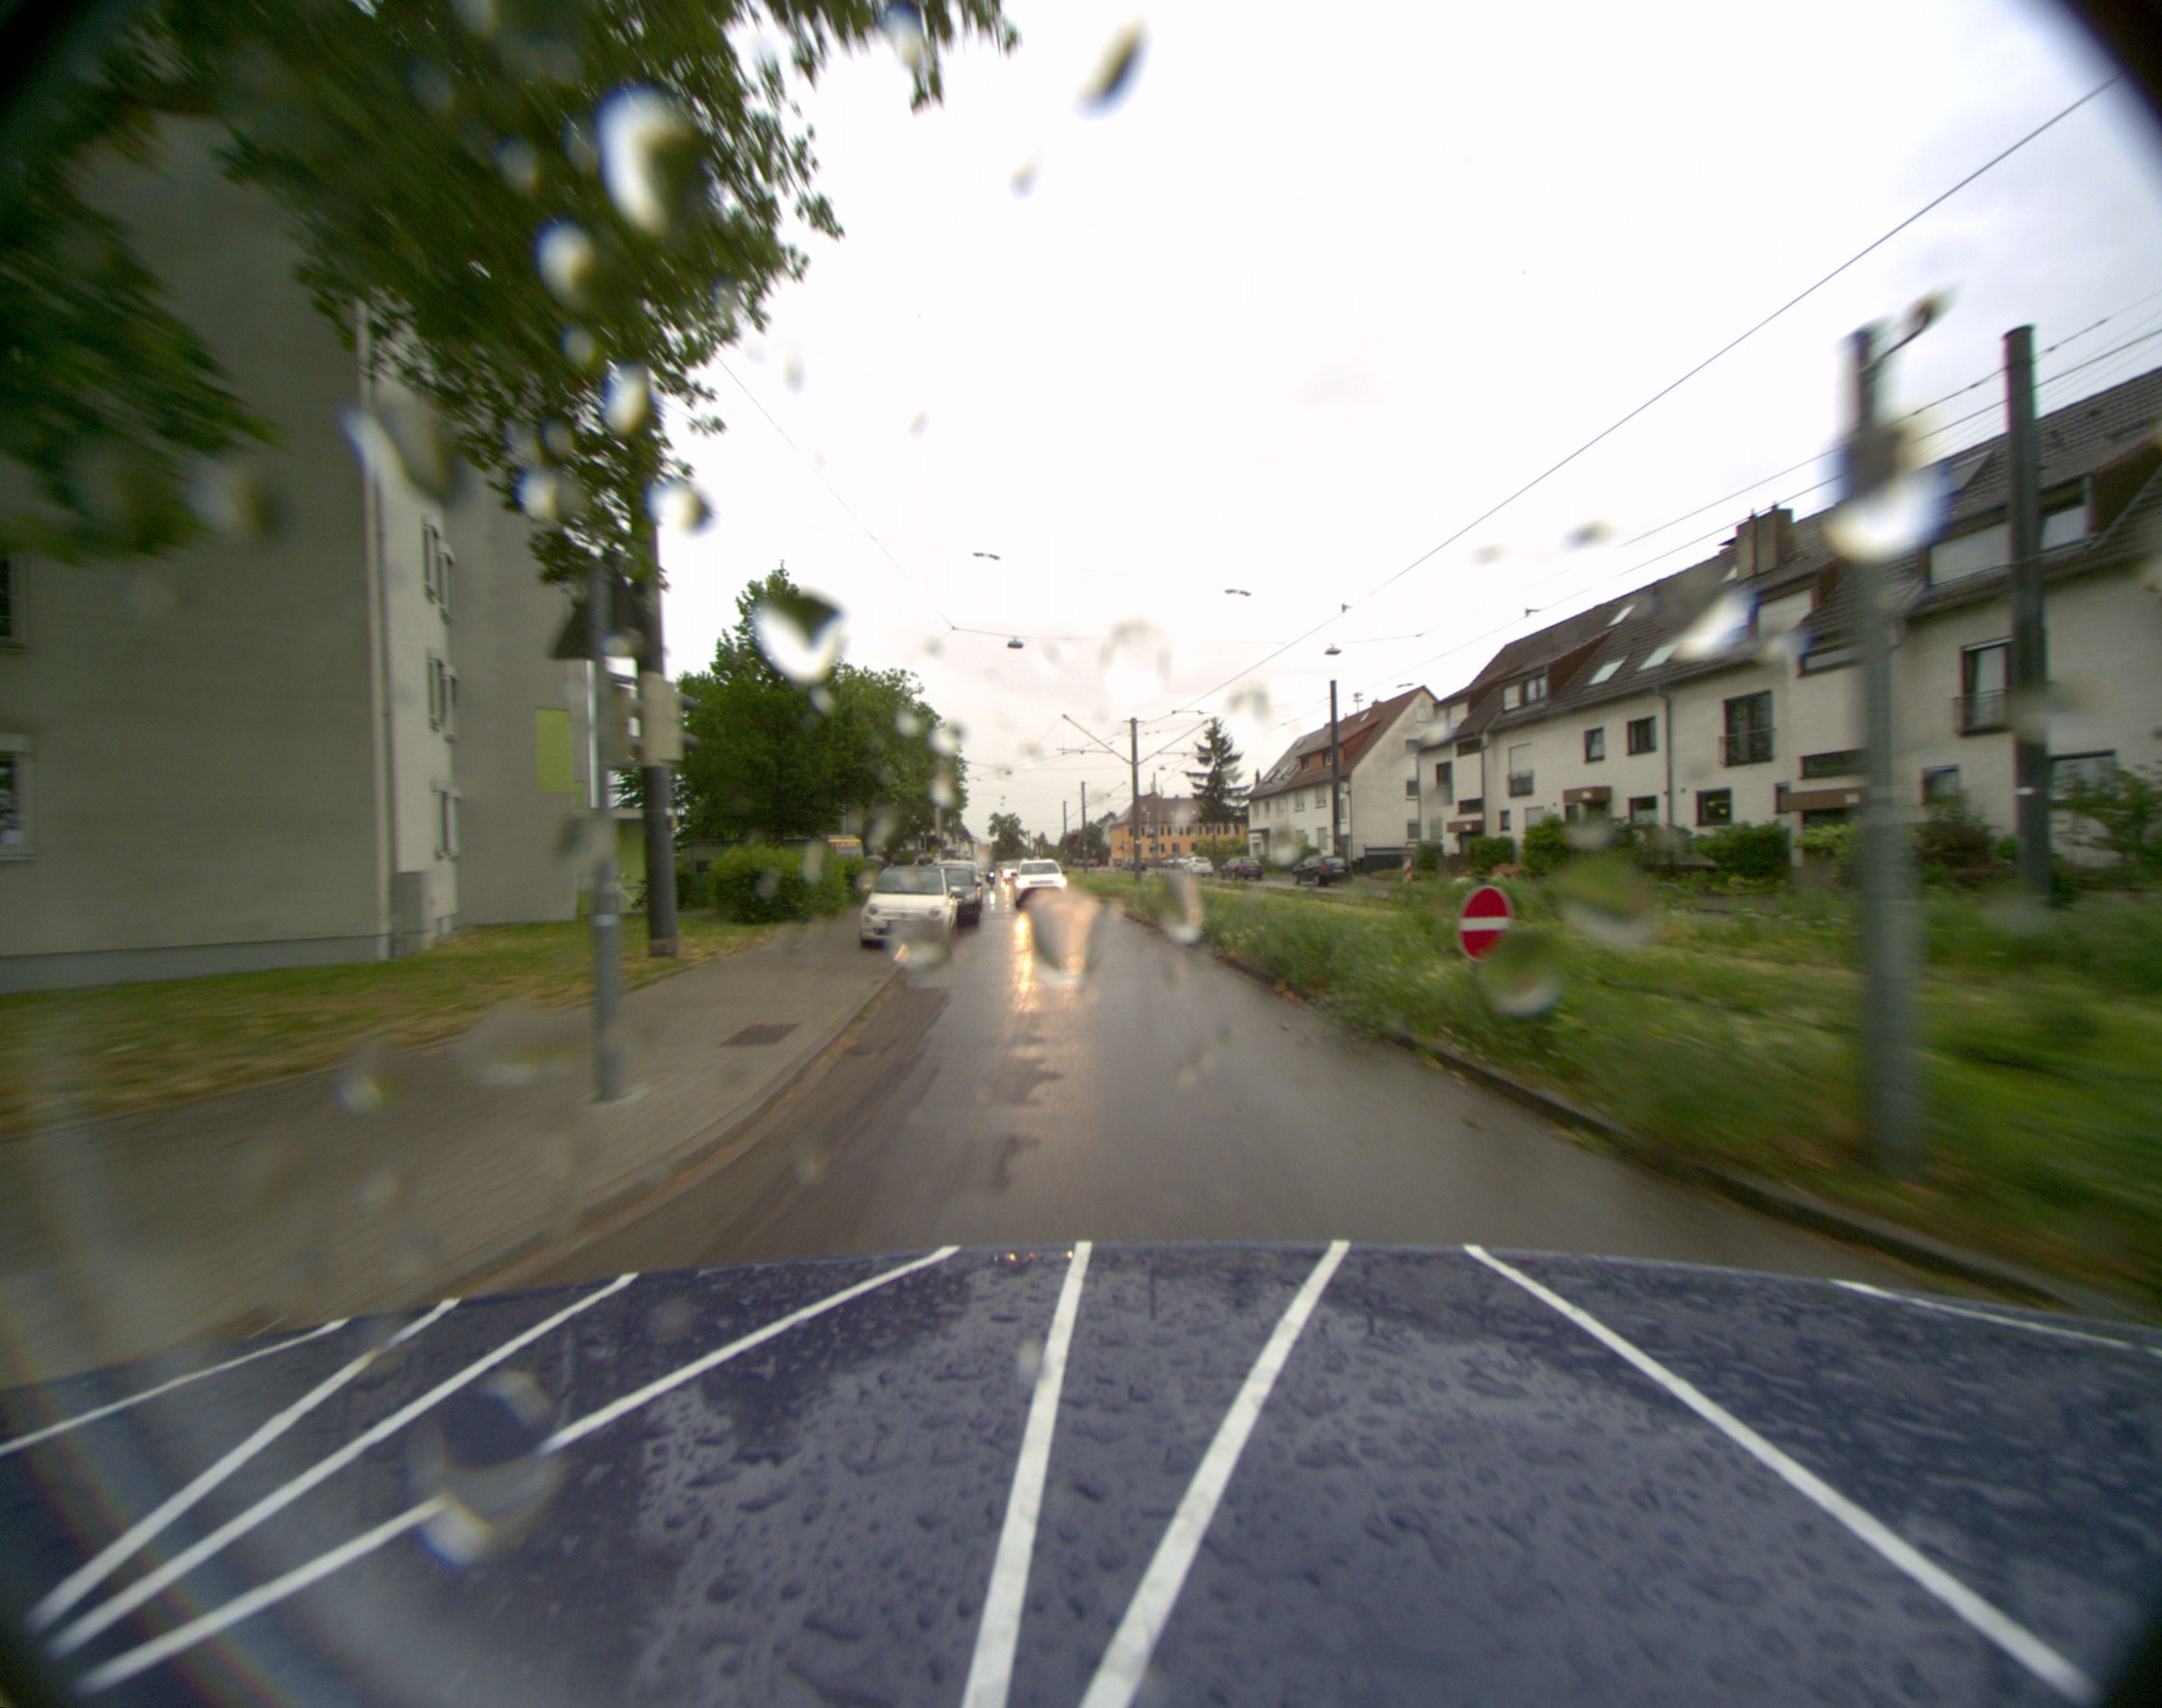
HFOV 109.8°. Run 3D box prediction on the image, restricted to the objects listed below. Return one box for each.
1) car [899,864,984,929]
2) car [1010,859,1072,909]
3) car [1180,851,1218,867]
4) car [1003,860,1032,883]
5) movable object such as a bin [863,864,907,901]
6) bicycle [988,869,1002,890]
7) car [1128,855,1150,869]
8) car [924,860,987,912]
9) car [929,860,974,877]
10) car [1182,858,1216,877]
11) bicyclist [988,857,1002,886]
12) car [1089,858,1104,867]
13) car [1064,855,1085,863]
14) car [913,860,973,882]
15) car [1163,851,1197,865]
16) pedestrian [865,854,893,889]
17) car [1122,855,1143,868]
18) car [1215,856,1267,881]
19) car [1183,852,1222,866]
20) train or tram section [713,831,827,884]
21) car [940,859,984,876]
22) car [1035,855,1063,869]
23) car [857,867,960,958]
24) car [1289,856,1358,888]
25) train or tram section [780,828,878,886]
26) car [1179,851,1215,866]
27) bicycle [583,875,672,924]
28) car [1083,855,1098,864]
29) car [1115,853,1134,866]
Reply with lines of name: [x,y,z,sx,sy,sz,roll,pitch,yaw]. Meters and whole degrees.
car: [-3.560,1.027,20.063,1.905,1.440,4.181,-1,0,-7]
car: [-1.454,0.952,26.213,1.854,1.500,4.118,-2,0,-6]
car: [13.790,0.576,88.773,3.998,1.586,1.913,-2,0,-4]
car: [-4.425,1.207,52.698,1.854,1.500,4.118,-1,0,-6]
movable object such as a bin: [-8.058,1.142,31.176,1.155,1.432,1.472,-1,0,-45]
bicycle: [-4.545,1.324,40.226,0.711,1.031,2.098,-1,0,-6]
car: [6.657,0.937,87.922,1.913,1.581,3.998,-1,0,-6]
car: [-4.165,1.025,25.852,1.905,1.565,4.109,-1,0,-7]
car: [-11.502,1.255,67.557,3.583,1.451,1.615,-1,0,-32]
car: [9.321,1.015,60.352,1.716,1.431,3.998,-1,0,-7]
bicyclist: [-4.565,0.915,40.300,0.711,1.503,0.715,-1,0,-6]
car: [2.566,1.446,125.523,1.886,1.423,4.075,-1,0,-7]
car: [-1.326,1.017,152.841,4.000,1.637,1.892,0,0,-9]
car: [-10.109,1.208,55.800,4.007,1.518,1.715,-1,0,-38]
car: [12.341,0.501,94.758,3.995,1.586,1.914,-2,0,8]
pedestrian: [-10.328,0.877,38.883,1.017,1.764,0.866,-1,0,17]
car: [6.248,0.918,92.584,1.882,1.520,3.998,-1,0,-6]
car: [10.308,0.902,49.219,1.892,1.522,4.754,-1,0,-7]
car: [13.788,0.586,86.119,3.998,1.455,1.913,-2,0,-4]
train or tram section: [-21.382,0.281,51.811,10.322,3.320,2.763,-1,0,41]
car: [-11.171,1.280,71.155,3.713,1.475,1.615,-1,0,-31]
car: [-4.602,1.164,110.688,3.998,1.712,1.672,-2,1,-2]
car: [-3.334,1.055,15.344,1.563,1.510,3.998,-1,0,-6]
car: [11.598,0.838,36.638,1.778,1.417,3.935,-1,0,-5]
train or tram section: [-15.591,0.192,46.790,6.382,3.320,2.763,-1,0,41]
car: [13.925,0.539,91.429,3.996,1.586,1.914,-2,0,2]
bicycle: [-11.397,1.121,19.157,1.864,1.135,0.532,-2,0,-30]
car: [1.601,0.951,134.184,2.097,1.423,4.075,-1,0,-7]
car: [5.806,0.713,101.481,1.999,1.648,3.998,-3,0,-4]
